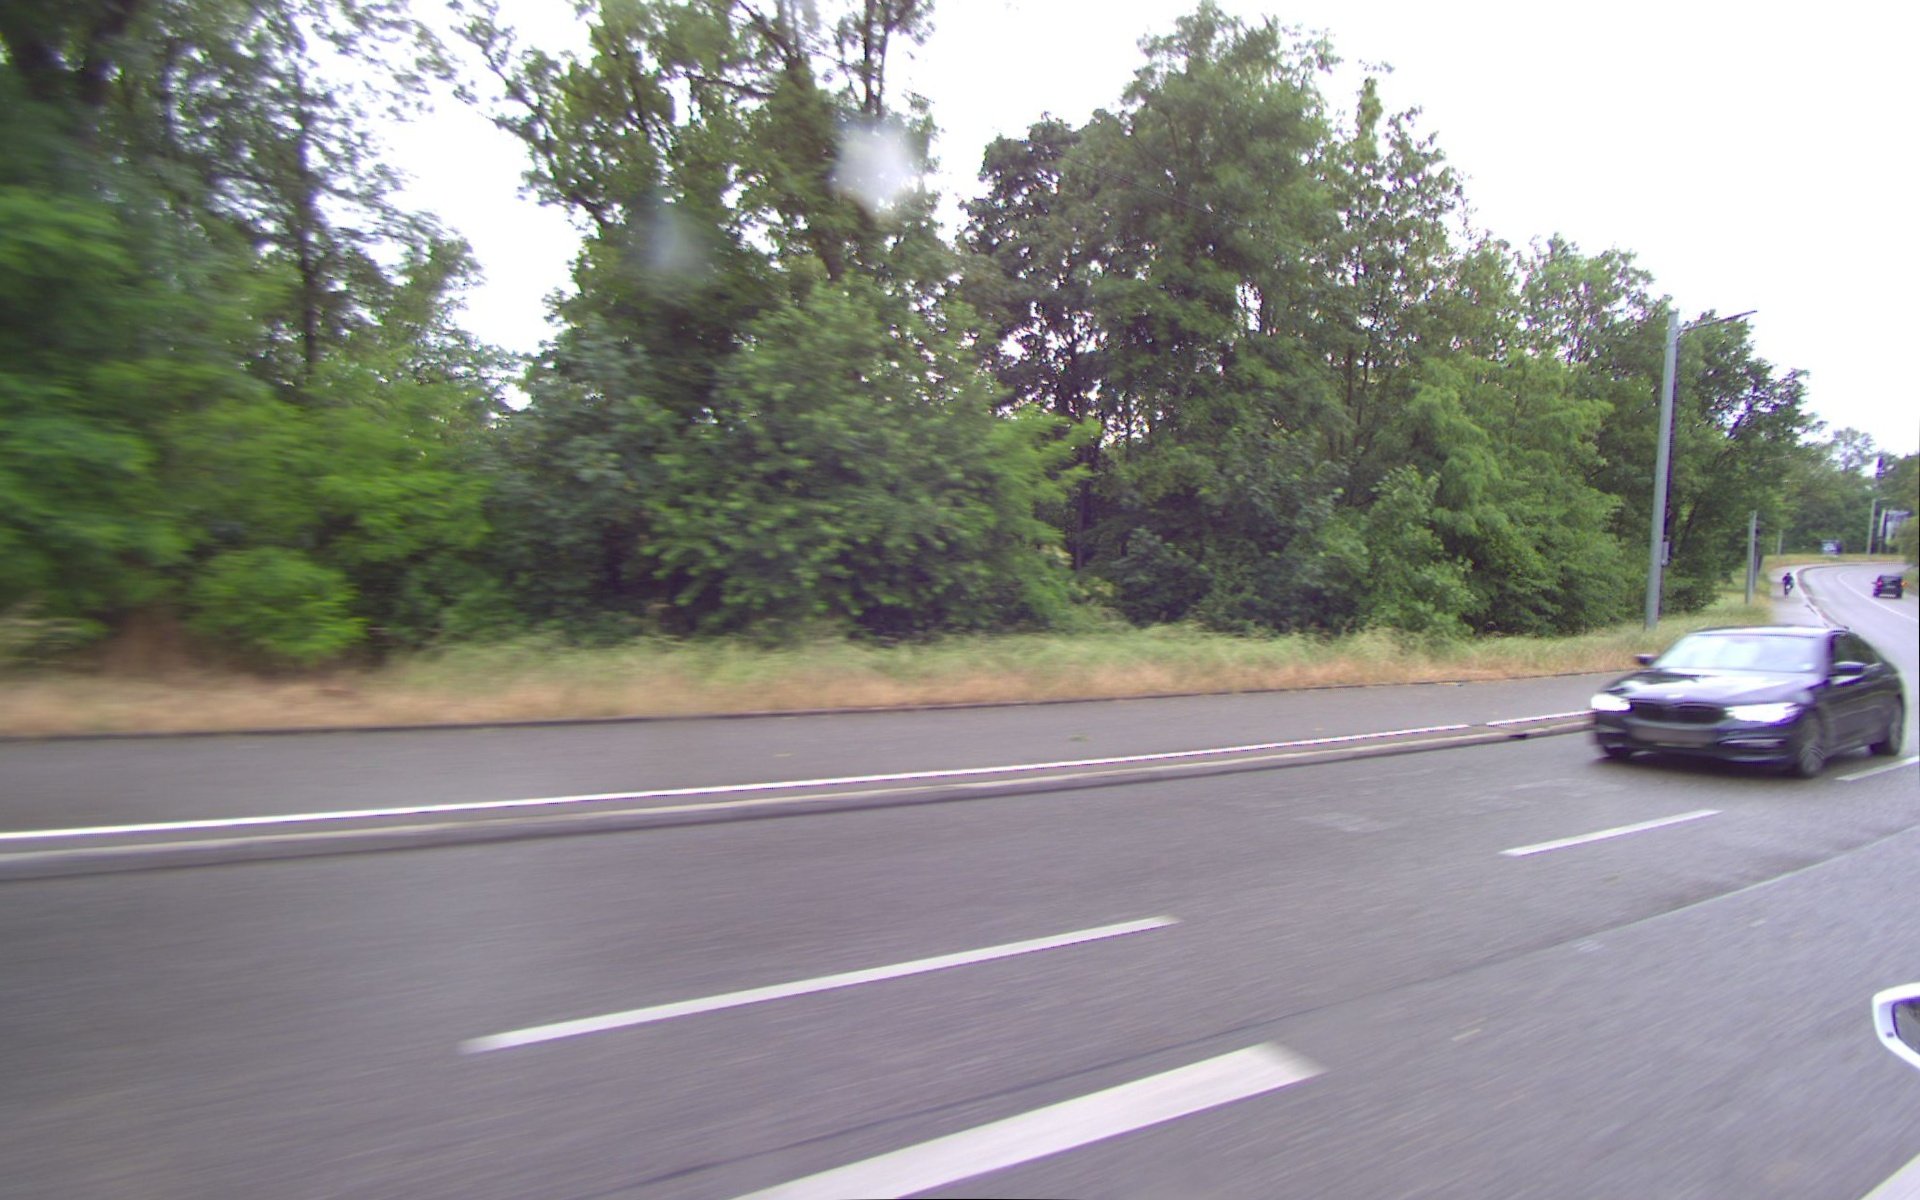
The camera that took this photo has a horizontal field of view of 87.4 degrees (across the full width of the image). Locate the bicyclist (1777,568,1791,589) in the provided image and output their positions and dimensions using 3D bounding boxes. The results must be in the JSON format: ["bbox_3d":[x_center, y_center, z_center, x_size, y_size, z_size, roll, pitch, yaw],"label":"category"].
[{"bbox_3d":[64.065,-1.660,78.075,0.699,1.577,1.165,6,5,38],"label":"bicyclist"}]

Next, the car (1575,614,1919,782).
[{"bbox_3d":[8.923,0.973,11.246,4.585,1.521,1.834,2,-2,-35],"label":"car"}]

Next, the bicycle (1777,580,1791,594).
[{"bbox_3d":[63.957,-1.012,78.008,0.715,0.954,2.539,6,5,38],"label":"bicycle"}]

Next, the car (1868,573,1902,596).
[{"bbox_3d":[76.566,-1.322,83.163,1.721,1.740,3.981,5,5,39],"label":"car"}]
